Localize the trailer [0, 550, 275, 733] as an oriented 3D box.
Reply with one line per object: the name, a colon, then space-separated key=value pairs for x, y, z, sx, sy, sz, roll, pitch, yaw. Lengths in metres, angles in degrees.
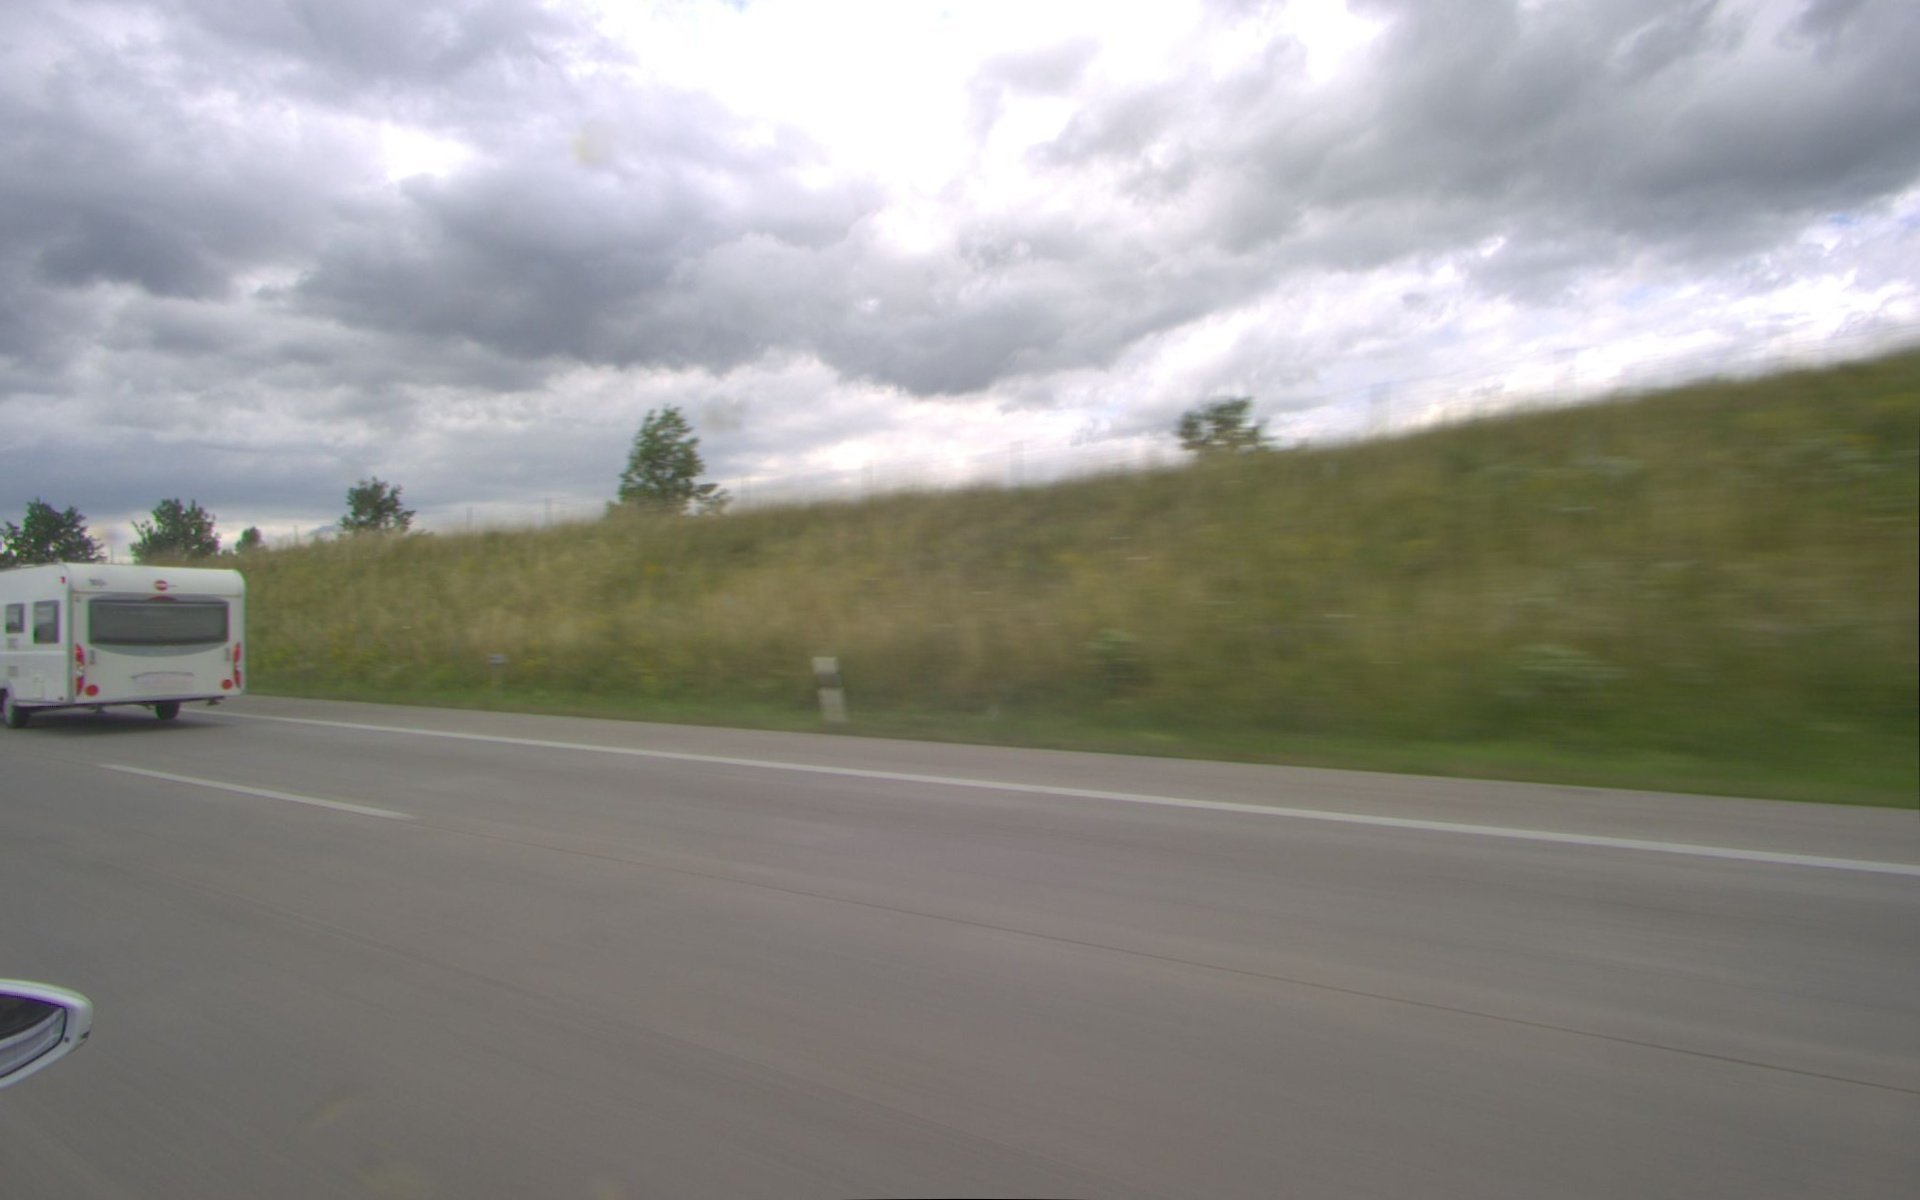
trailer: x=-14.604 y=0.653 z=16.906 sx=6.625 sy=2.567 sz=2.604 roll=-1 pitch=-1 yaw=32

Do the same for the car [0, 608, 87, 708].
car: x=-19.461 y=1.101 z=19.825 sx=4.960 sy=1.833 sz=1.936 roll=-1 pitch=-1 yaw=32
